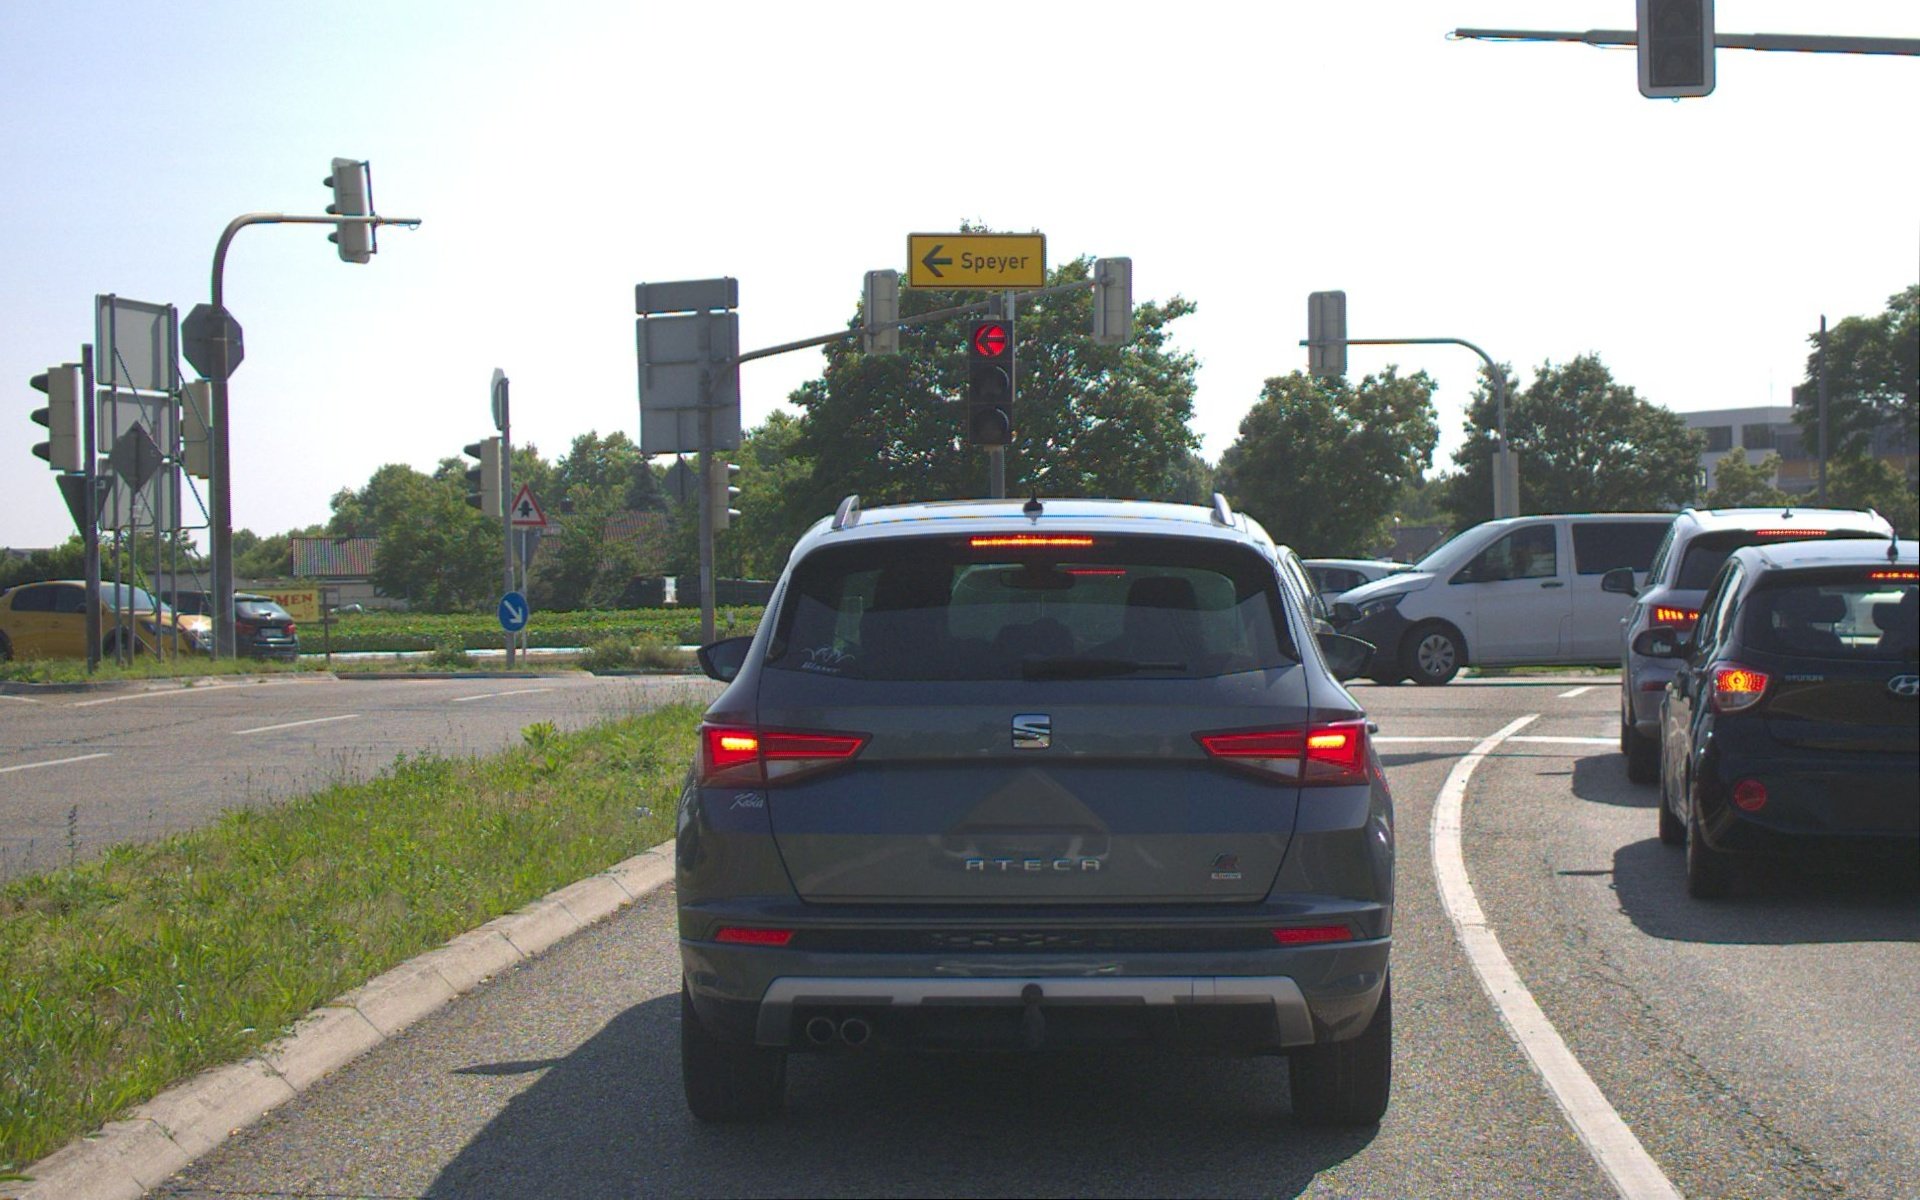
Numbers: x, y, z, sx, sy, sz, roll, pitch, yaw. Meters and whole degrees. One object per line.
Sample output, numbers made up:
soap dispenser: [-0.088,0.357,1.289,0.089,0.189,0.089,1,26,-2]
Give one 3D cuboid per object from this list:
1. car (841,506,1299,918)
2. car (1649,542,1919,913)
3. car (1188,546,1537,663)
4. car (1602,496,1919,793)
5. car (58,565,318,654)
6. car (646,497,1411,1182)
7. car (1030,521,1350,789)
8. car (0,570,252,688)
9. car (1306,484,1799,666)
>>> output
car: [0.506,0.411,15.116,1.742,1.563,3.624,1,1,3]
car: [3.947,0.475,15.111,1.633,1.443,3.294,1,1,9]
car: [5.439,0.059,46.550,4.328,1.514,1.805,0,1,28]
car: [4.917,0.225,21.470,1.633,1.671,3.748,1,1,9]
car: [-12.829,0.152,57.080,4.096,1.411,1.714,0,1,29]
car: [0.206,0.523,9.680,1.742,1.563,3.624,0,1,2]
car: [1.499,0.290,21.207,1.742,1.479,3.623,1,1,7]
car: [-12.458,0.411,50.077,3.993,1.645,1.817,0,1,30]
car: [6.452,-0.286,37.695,4.930,1.911,2.001,0,1,-8]
